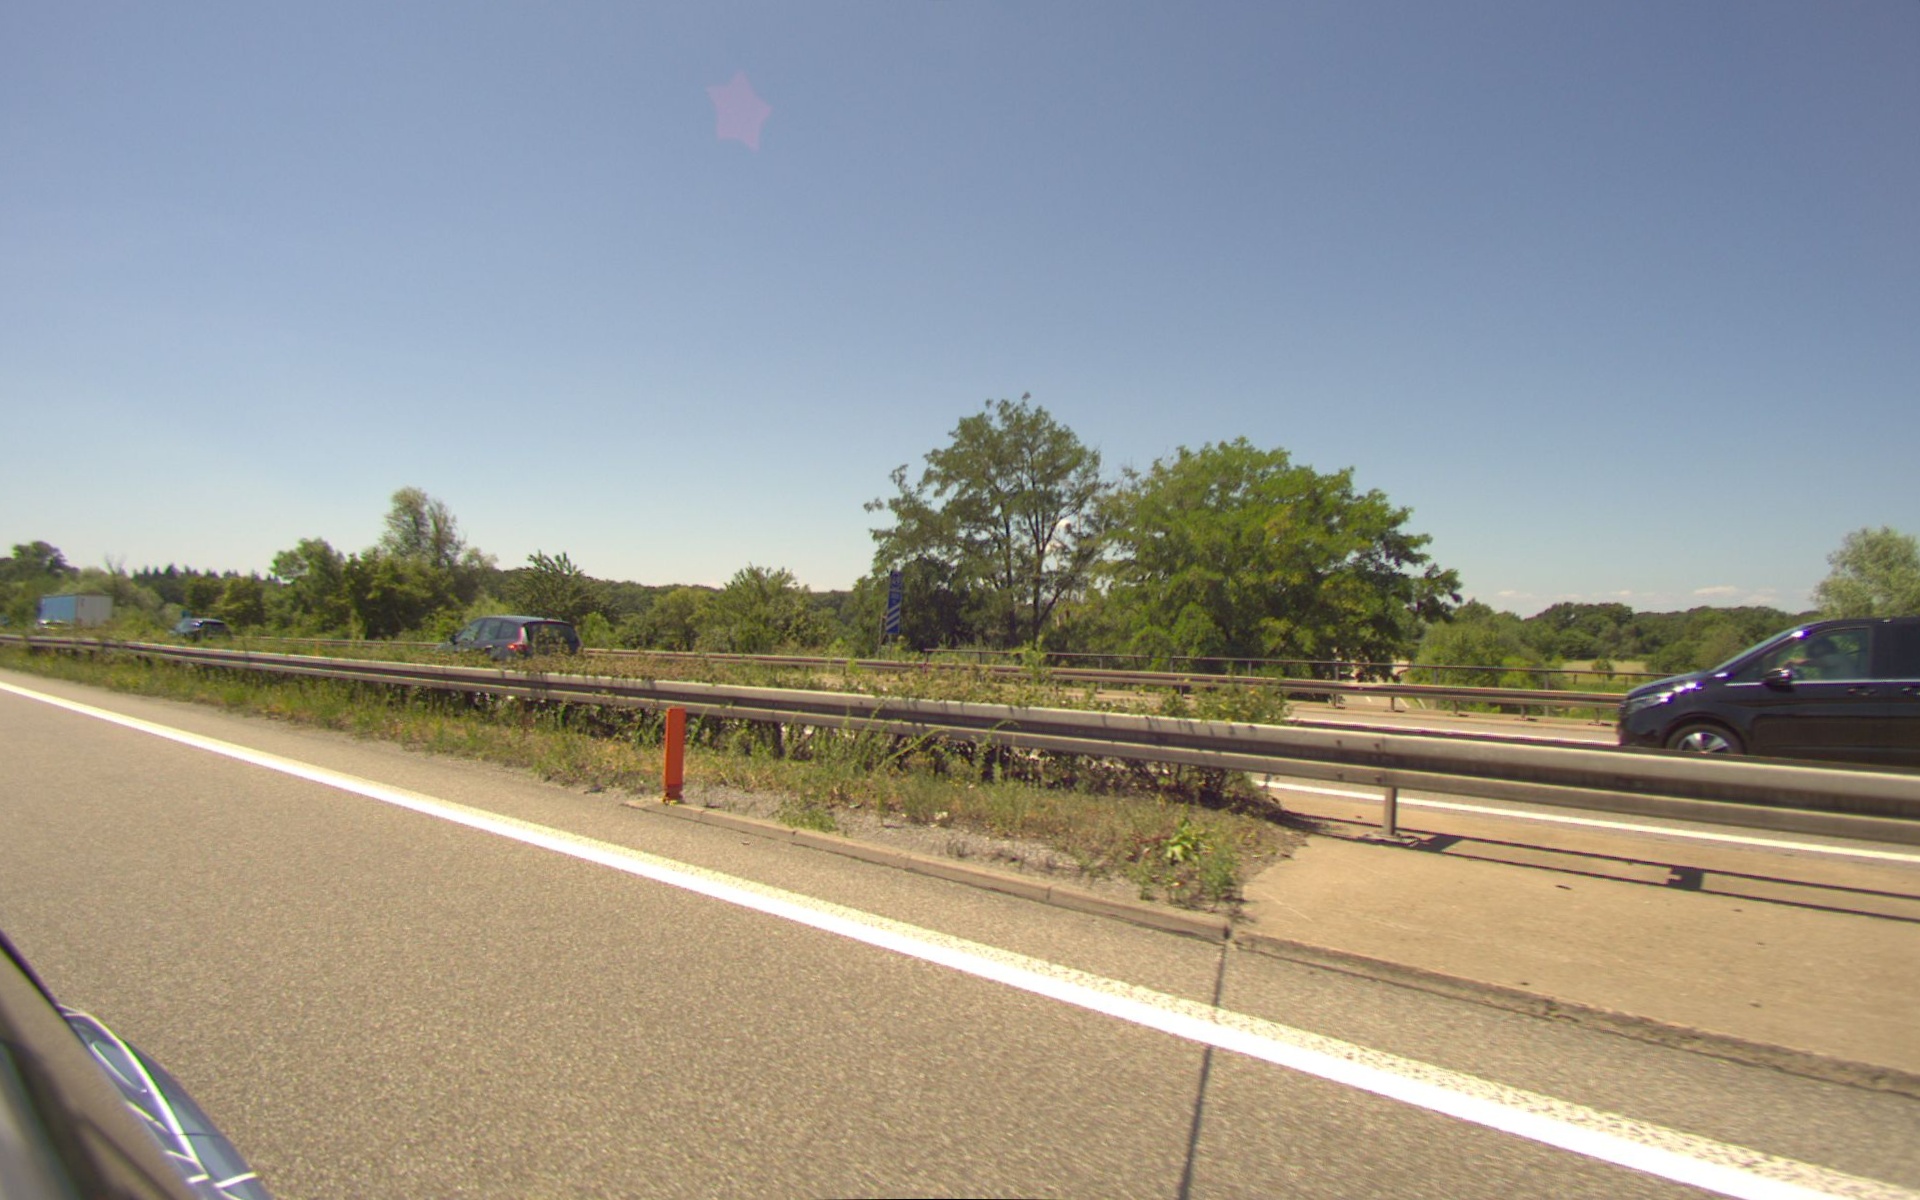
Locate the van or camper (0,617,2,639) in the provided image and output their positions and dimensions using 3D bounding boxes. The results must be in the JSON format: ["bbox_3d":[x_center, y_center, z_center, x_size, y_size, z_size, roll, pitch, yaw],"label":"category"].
[{"bbox_3d":[-96.156,2.903,99.356,7.026,2.585,1.974,-1,-5,39],"label":"van or camper"}]

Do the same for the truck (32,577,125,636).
[{"bbox_3d":[-79.336,0.722,90.861,16.841,4.756,3.194,-1,-5,39],"label":"truck"}]

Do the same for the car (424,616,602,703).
[{"bbox_3d":[-9.951,1.261,22.442,4.089,1.744,1.973,-1,-3,40],"label":"car"}]

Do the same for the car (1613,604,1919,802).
[{"bbox_3d":[10.400,1.047,10.579,5.777,1.932,2.388,-1,-3,40],"label":"car"}]

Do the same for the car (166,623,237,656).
[{"bbox_3d":[-38.675,2.009,51.578,3.996,1.630,1.974,-1,-3,39],"label":"car"}]

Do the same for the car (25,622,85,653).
[{"bbox_3d":[-52.687,2.187,58.897,4.089,1.744,1.973,-1,-3,40],"label":"car"}]
